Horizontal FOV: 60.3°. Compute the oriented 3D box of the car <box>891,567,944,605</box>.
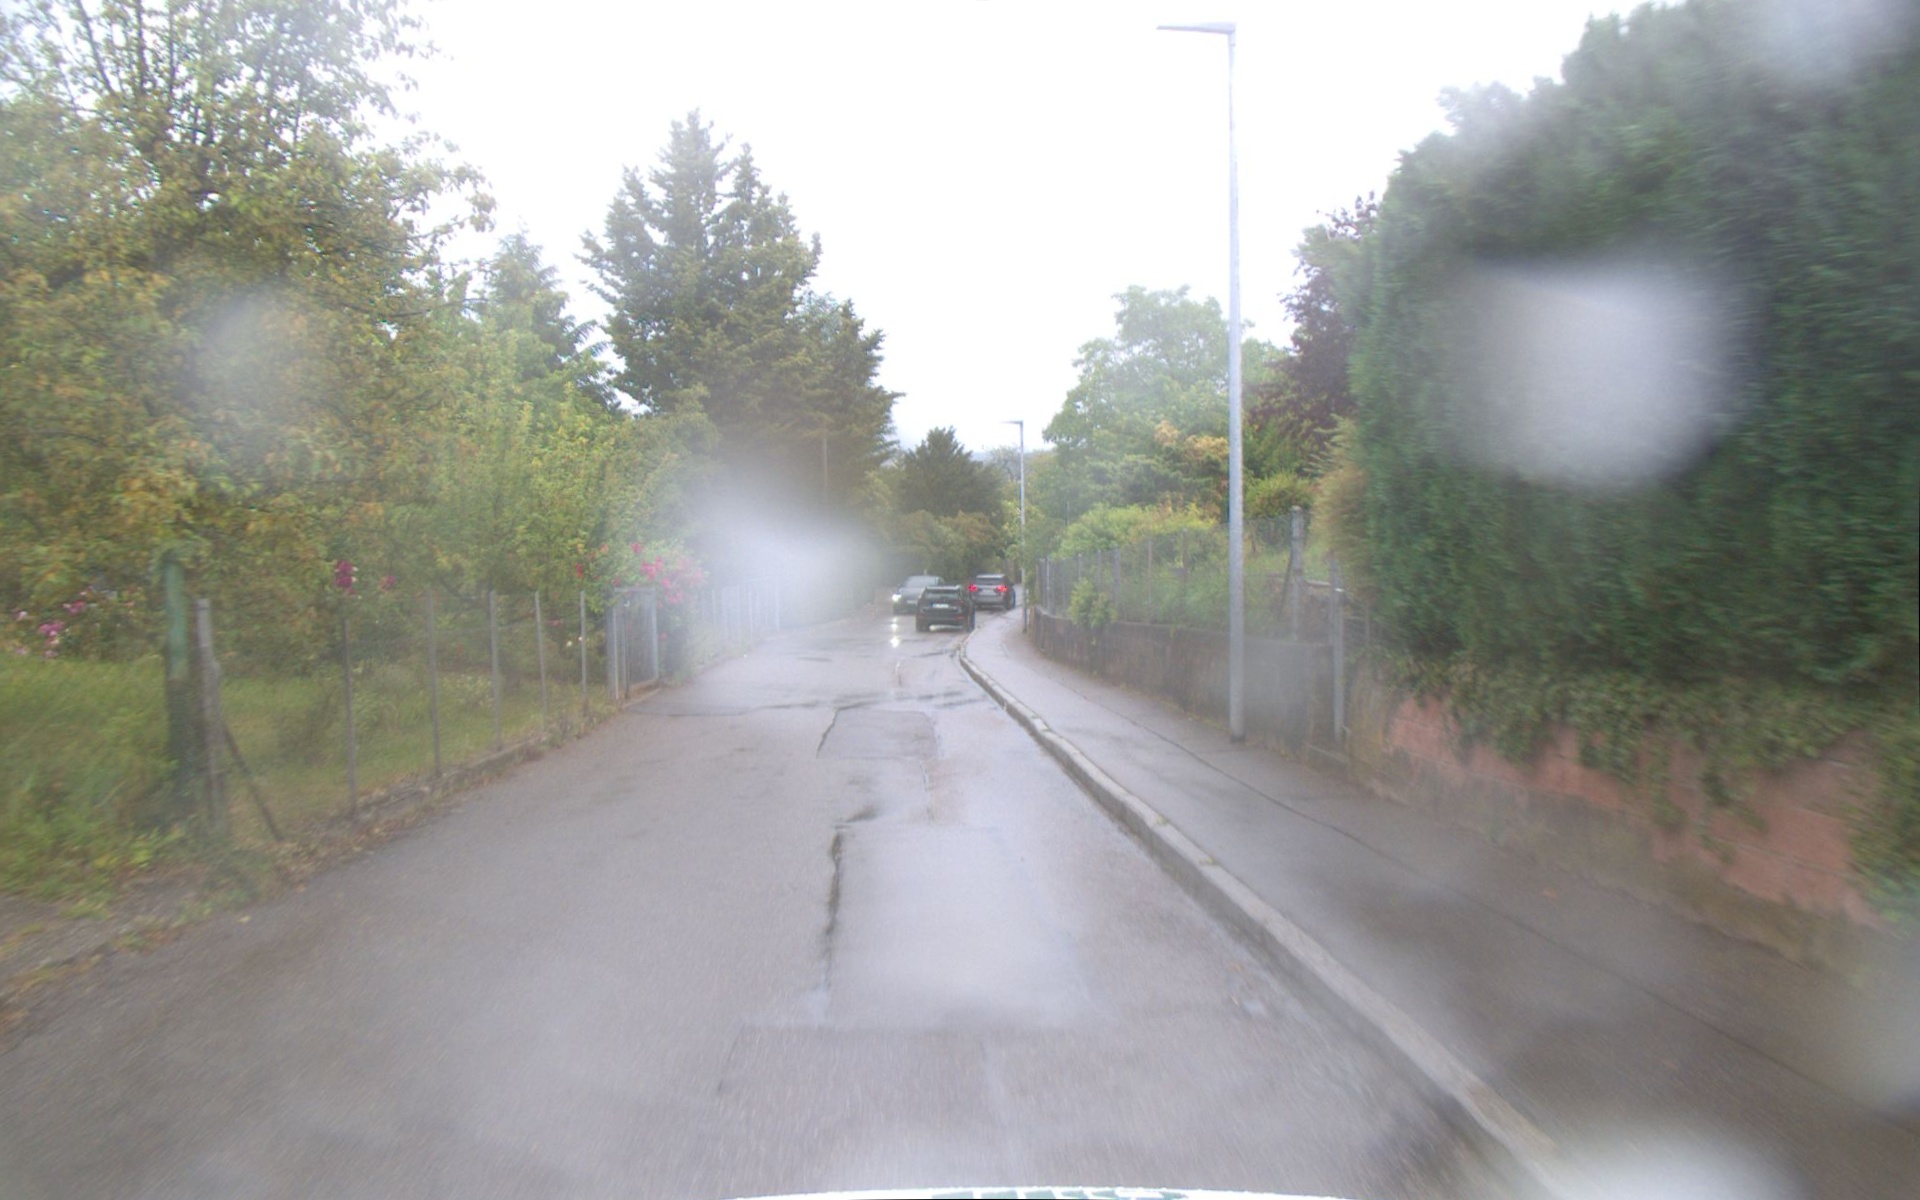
[{"bbox_3d":[-1.745,-0.597,69.200,1.742,1.520,3.834,1,1,5],"label":"car"}]

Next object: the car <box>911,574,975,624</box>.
[{"bbox_3d":[-0.519,-0.045,53.971,1.796,1.489,4.002,2,1,3],"label":"car"}]

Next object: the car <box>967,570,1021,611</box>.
[{"bbox_3d":[1.526,-0.447,73.421,1.642,1.592,3.798,2,3,12],"label":"car"}]
